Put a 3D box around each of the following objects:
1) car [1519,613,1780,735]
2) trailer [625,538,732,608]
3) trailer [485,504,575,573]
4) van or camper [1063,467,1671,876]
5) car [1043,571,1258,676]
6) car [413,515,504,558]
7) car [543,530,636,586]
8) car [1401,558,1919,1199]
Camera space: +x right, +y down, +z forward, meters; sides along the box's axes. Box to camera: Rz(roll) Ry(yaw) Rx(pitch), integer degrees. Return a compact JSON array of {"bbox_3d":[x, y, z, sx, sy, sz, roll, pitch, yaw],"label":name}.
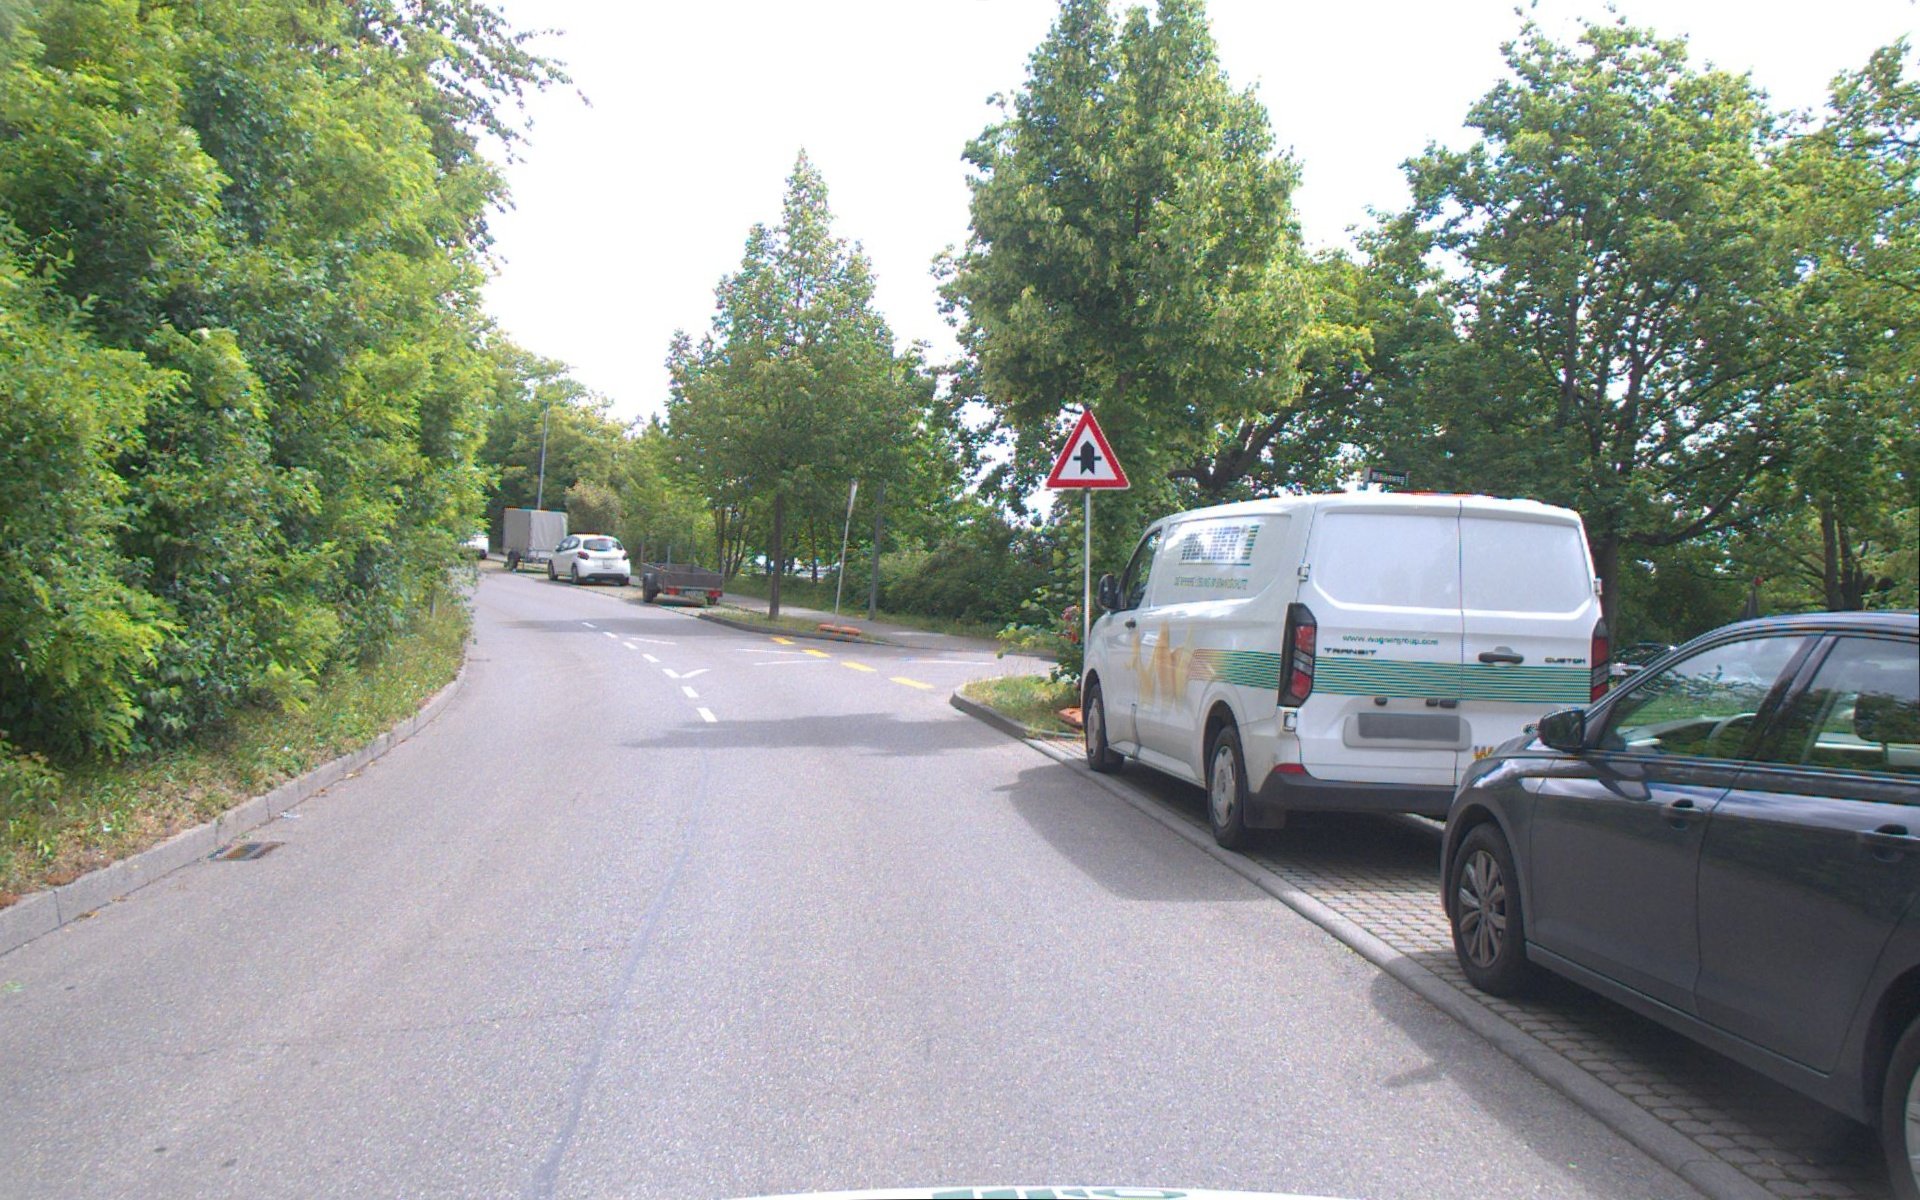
[{"bbox_3d":[12.869,1.366,31.016,3.915,1.622,1.997,8,0,-8],"label":"car"},{"bbox_3d":[-7.328,-0.724,42.826,1.761,1.552,3.972,2,3,-24],"label":"trailer"},{"bbox_3d":[-14.738,-2.130,56.546,1.725,2.147,3.954,0,4,-34],"label":"trailer"},{"bbox_3d":[2.201,0.314,10.779,1.956,1.953,5.256,2,1,-8],"label":"van or camper"},{"bbox_3d":[3.390,0.399,29.783,3.468,1.506,1.780,5,2,-5],"label":"car"},{"bbox_3d":[-19.278,-2.450,63.451,1.873,1.399,4.294,1,3,-38],"label":"car"},{"bbox_3d":[-11.480,-1.324,51.073,1.749,1.435,3.964,1,4,-29],"label":"car"},{"bbox_3d":[2.896,0.698,4.902,1.763,1.489,3.996,3,0,-5],"label":"car"}]
